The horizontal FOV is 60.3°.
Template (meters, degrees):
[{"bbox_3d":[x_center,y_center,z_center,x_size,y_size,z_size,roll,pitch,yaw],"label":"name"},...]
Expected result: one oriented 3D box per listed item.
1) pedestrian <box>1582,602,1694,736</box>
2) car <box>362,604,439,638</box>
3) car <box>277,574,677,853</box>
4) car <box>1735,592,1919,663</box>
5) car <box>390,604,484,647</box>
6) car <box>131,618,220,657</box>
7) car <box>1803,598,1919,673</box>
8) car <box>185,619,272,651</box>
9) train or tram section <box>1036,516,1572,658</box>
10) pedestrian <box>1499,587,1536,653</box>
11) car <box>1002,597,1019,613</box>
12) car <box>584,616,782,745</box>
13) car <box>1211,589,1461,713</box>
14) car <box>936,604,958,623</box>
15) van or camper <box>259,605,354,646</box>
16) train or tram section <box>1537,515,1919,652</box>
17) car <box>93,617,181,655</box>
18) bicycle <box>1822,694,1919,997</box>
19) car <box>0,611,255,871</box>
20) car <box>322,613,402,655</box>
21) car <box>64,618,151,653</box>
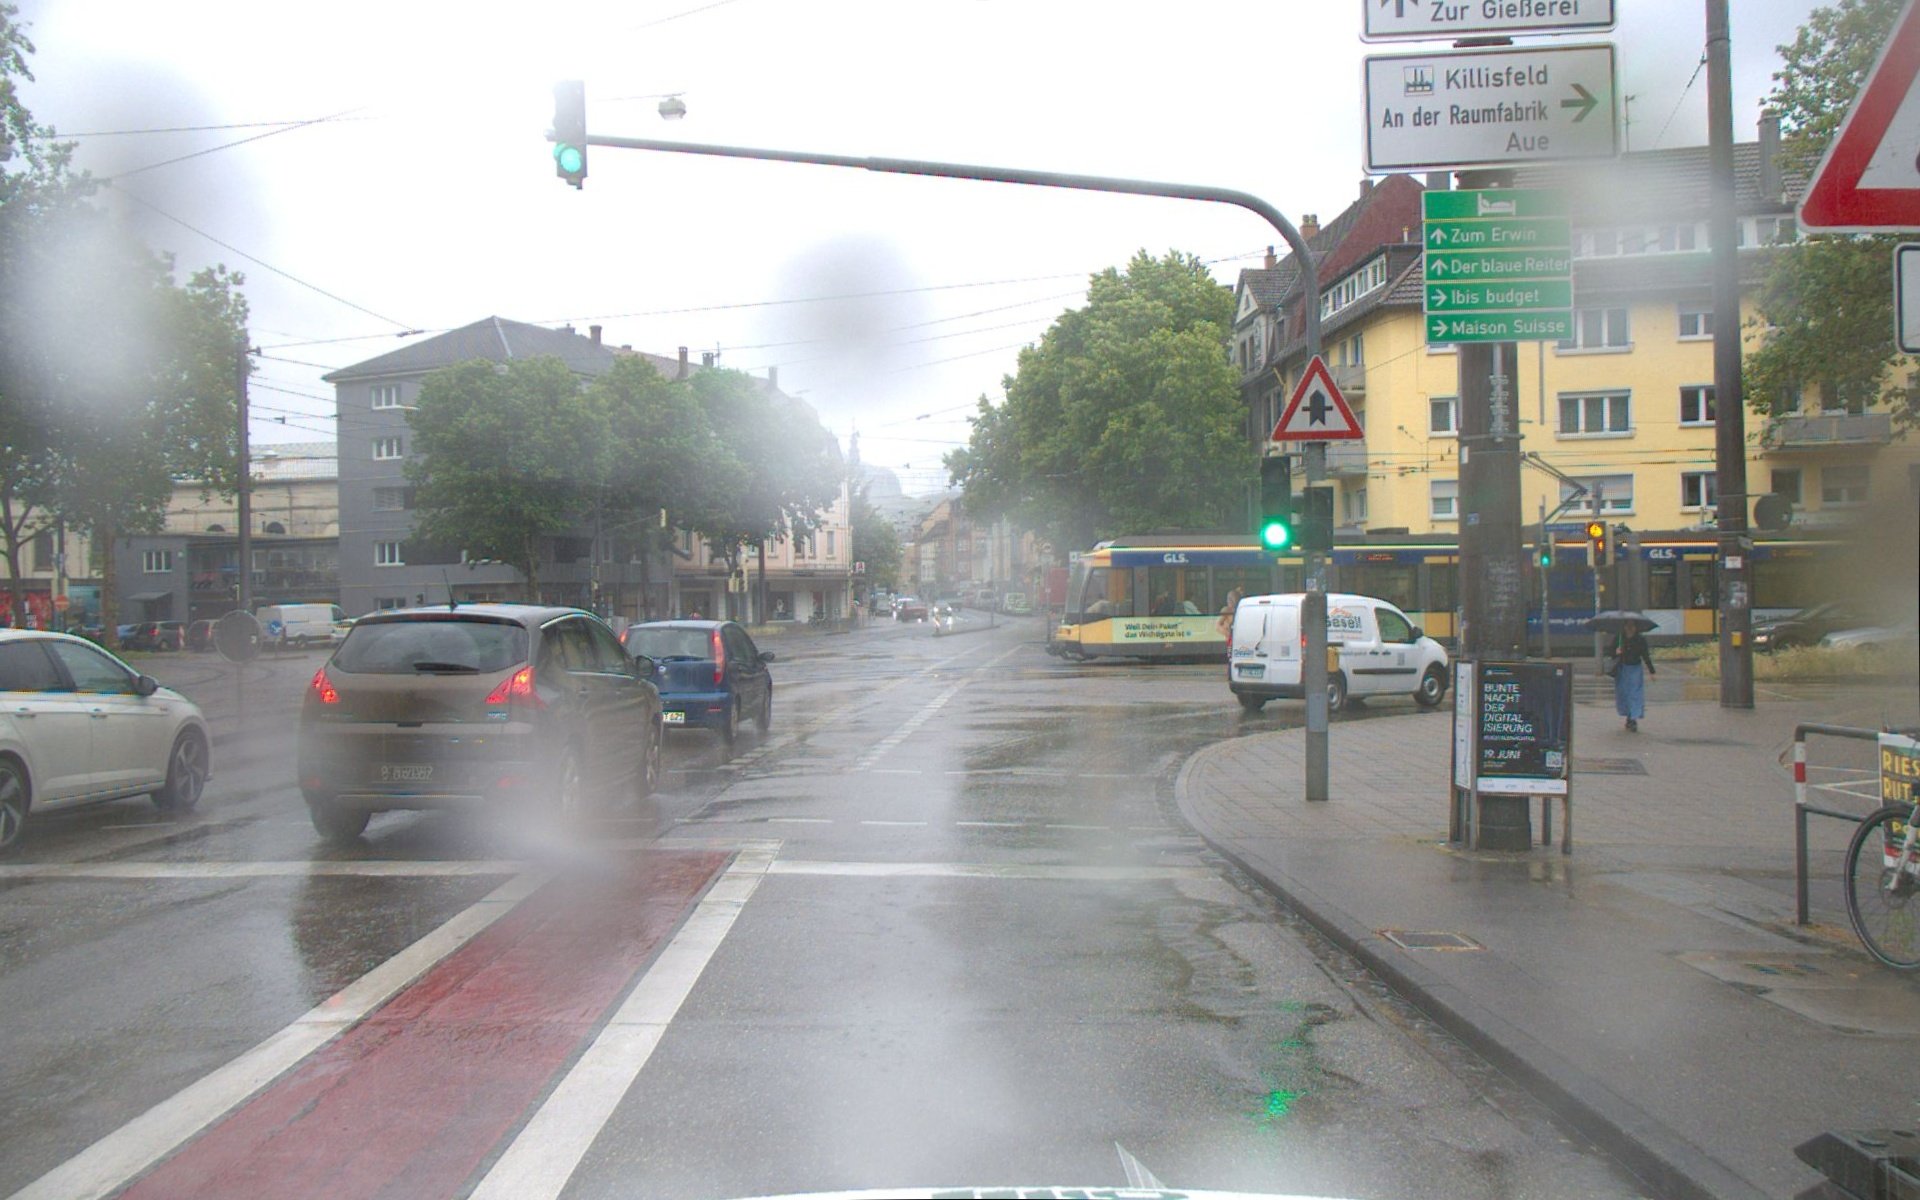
[{"bbox_3d":[8.979,0.886,21.914,1.087,1.696,0.991,0,0,45],"label":"pedestrian"},{"bbox_3d":[-29.108,1.083,86.158,1.880,1.646,4.003,-1,0,16],"label":"car"},{"bbox_3d":[-3.376,0.693,12.438,1.764,1.739,4.191,0,0,0],"label":"car"},{"bbox_3d":[20.690,0.631,38.769,4.179,1.528,1.881,-1,0,8],"label":"car"},{"bbox_3d":[-26.593,1.281,84.276,2.022,2.049,4.390,0,0,29],"label":"car"},{"bbox_3d":[-42.901,2.058,90.489,1.956,2.049,3.993,0,-1,29],"label":"car"},{"bbox_3d":[20.785,0.733,35.574,4.390,1.515,1.742,-1,0,13],"label":"car"},{"bbox_3d":[-39.077,1.873,88.446,1.953,1.642,3.997,-1,-2,24],"label":"car"},{"bbox_3d":[9.361,-0.376,45.082,14.271,3.620,3.108,0,0,-12],"label":"train or tram section"},{"bbox_3d":[14.621,0.512,43.343,0.796,1.707,1.016,-1,0,25],"label":"pedestrian"},{"bbox_3d":[4.738,0.479,155.750,1.445,1.386,3.461,1,-1,0],"label":"car"},{"bbox_3d":[-3.400,1.014,21.010,1.844,1.485,3.831,0,-3,0],"label":"car"},{"bbox_3d":[6.102,0.741,26.624,4.074,1.828,1.882,0,1,-40],"label":"car"},{"bbox_3d":[-1.255,1.280,157.046,1.953,1.718,3.998,1,-1,-2],"label":"car"},{"bbox_3d":[-34.126,1.323,86.515,1.953,2.111,4.654,0,-1,22],"label":"van or camper"},{"bbox_3d":[23.529,-0.445,45.220,14.315,3.620,3.119,0,0,8],"label":"train or tram section"},{"bbox_3d":[-45.508,1.992,91.526,1.958,1.962,3.989,0,0,33],"label":"car"},{"bbox_3d":[4.146,1.035,6.579,0.413,1.189,1.792,2,0,-2],"label":"bicycle"},{"bbox_3d":[-6.826,0.903,11.795,1.769,1.563,4.191,-1,0,0],"label":"car"},{"bbox_3d":[-31.251,1.761,86.496,1.951,2.049,4.003,-1,0,16],"label":"car"},{"bbox_3d":[-48.409,2.002,94.013,1.956,1.794,3.993,-1,0,29],"label":"car"}]
